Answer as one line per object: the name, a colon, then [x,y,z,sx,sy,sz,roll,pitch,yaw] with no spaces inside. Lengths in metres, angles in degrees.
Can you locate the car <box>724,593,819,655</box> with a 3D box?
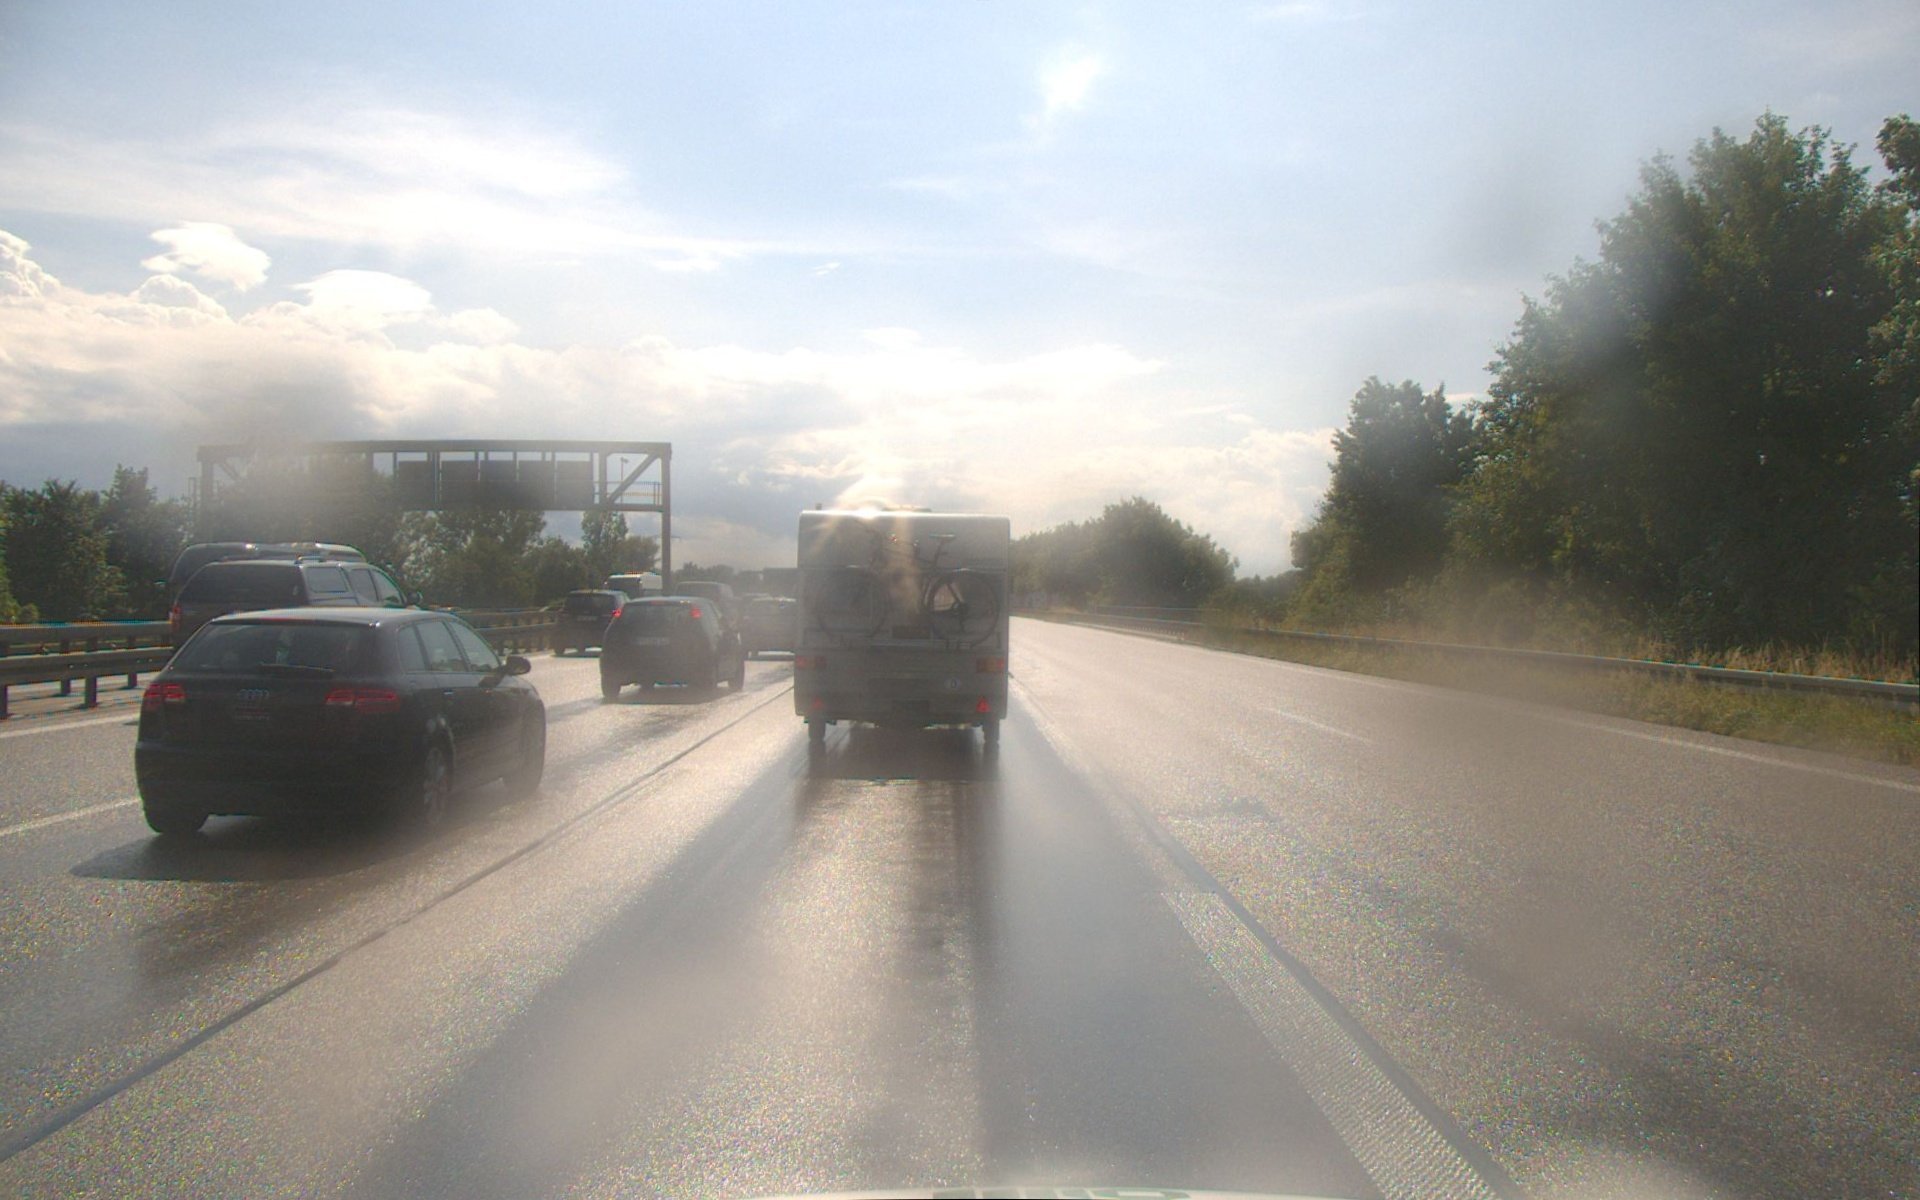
car: [-4.746,0.579,42.144,1.947,1.483,3.826,1,0,0]

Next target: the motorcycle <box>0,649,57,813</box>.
motorcycle: [-6.622,0.869,10.327,0.676,1.045,2.388,1,0,-1]

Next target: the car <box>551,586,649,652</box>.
car: [-9.137,0.456,42.250,1.747,1.606,3.914,1,0,-2]

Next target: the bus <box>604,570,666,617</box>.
bus: [-24.887,-0.480,127.191,2.880,3.343,12.204,1,0,-3]

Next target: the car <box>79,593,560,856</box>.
car: [-4.072,0.692,11.281,1.714,1.458,4.053,1,0,-1]

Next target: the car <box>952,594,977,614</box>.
car: [0.335,0.344,138.895,1.799,1.585,3.996,1,0,-4]

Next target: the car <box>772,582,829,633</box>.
car: [-5.467,0.247,57.025,1.654,1.691,3.640,1,0,-1]

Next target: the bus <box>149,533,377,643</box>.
bus: [-24.051,-0.381,58.083,2.832,3.433,12.468,1,0,-1]

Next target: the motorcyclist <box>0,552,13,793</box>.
motorcyclist: [-6.621,0.469,10.322,0.779,1.564,1.093,1,0,-1]

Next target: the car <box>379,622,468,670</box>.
car: [-17.868,1.511,55.233,1.740,1.467,3.999,1,0,-2]

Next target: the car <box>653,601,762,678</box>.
car: [-5.380,0.811,35.739,1.825,1.534,3.999,1,0,-2]

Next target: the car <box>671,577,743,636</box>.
car: [-8.758,0.215,57.632,1.810,1.967,5.015,1,0,-1]

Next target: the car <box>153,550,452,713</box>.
car: [-8.457,0.361,21.897,1.769,1.876,5.418,1,0,0]

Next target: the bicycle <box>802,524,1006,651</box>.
bicycle: [-0.525,-0.115,15.688,1.894,1.161,0.384,1,-1,1]

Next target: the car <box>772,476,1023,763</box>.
car: [-0.591,0.195,17.883,2.361,2.721,4.000,1,0,0]

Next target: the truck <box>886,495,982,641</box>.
truck: [-0.995,-1.039,59.226,3.082,4.707,10.732,1,0,-2]

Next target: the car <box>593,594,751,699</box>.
car: [-4.371,0.659,25.637,1.722,1.468,4.000,1,0,0]
